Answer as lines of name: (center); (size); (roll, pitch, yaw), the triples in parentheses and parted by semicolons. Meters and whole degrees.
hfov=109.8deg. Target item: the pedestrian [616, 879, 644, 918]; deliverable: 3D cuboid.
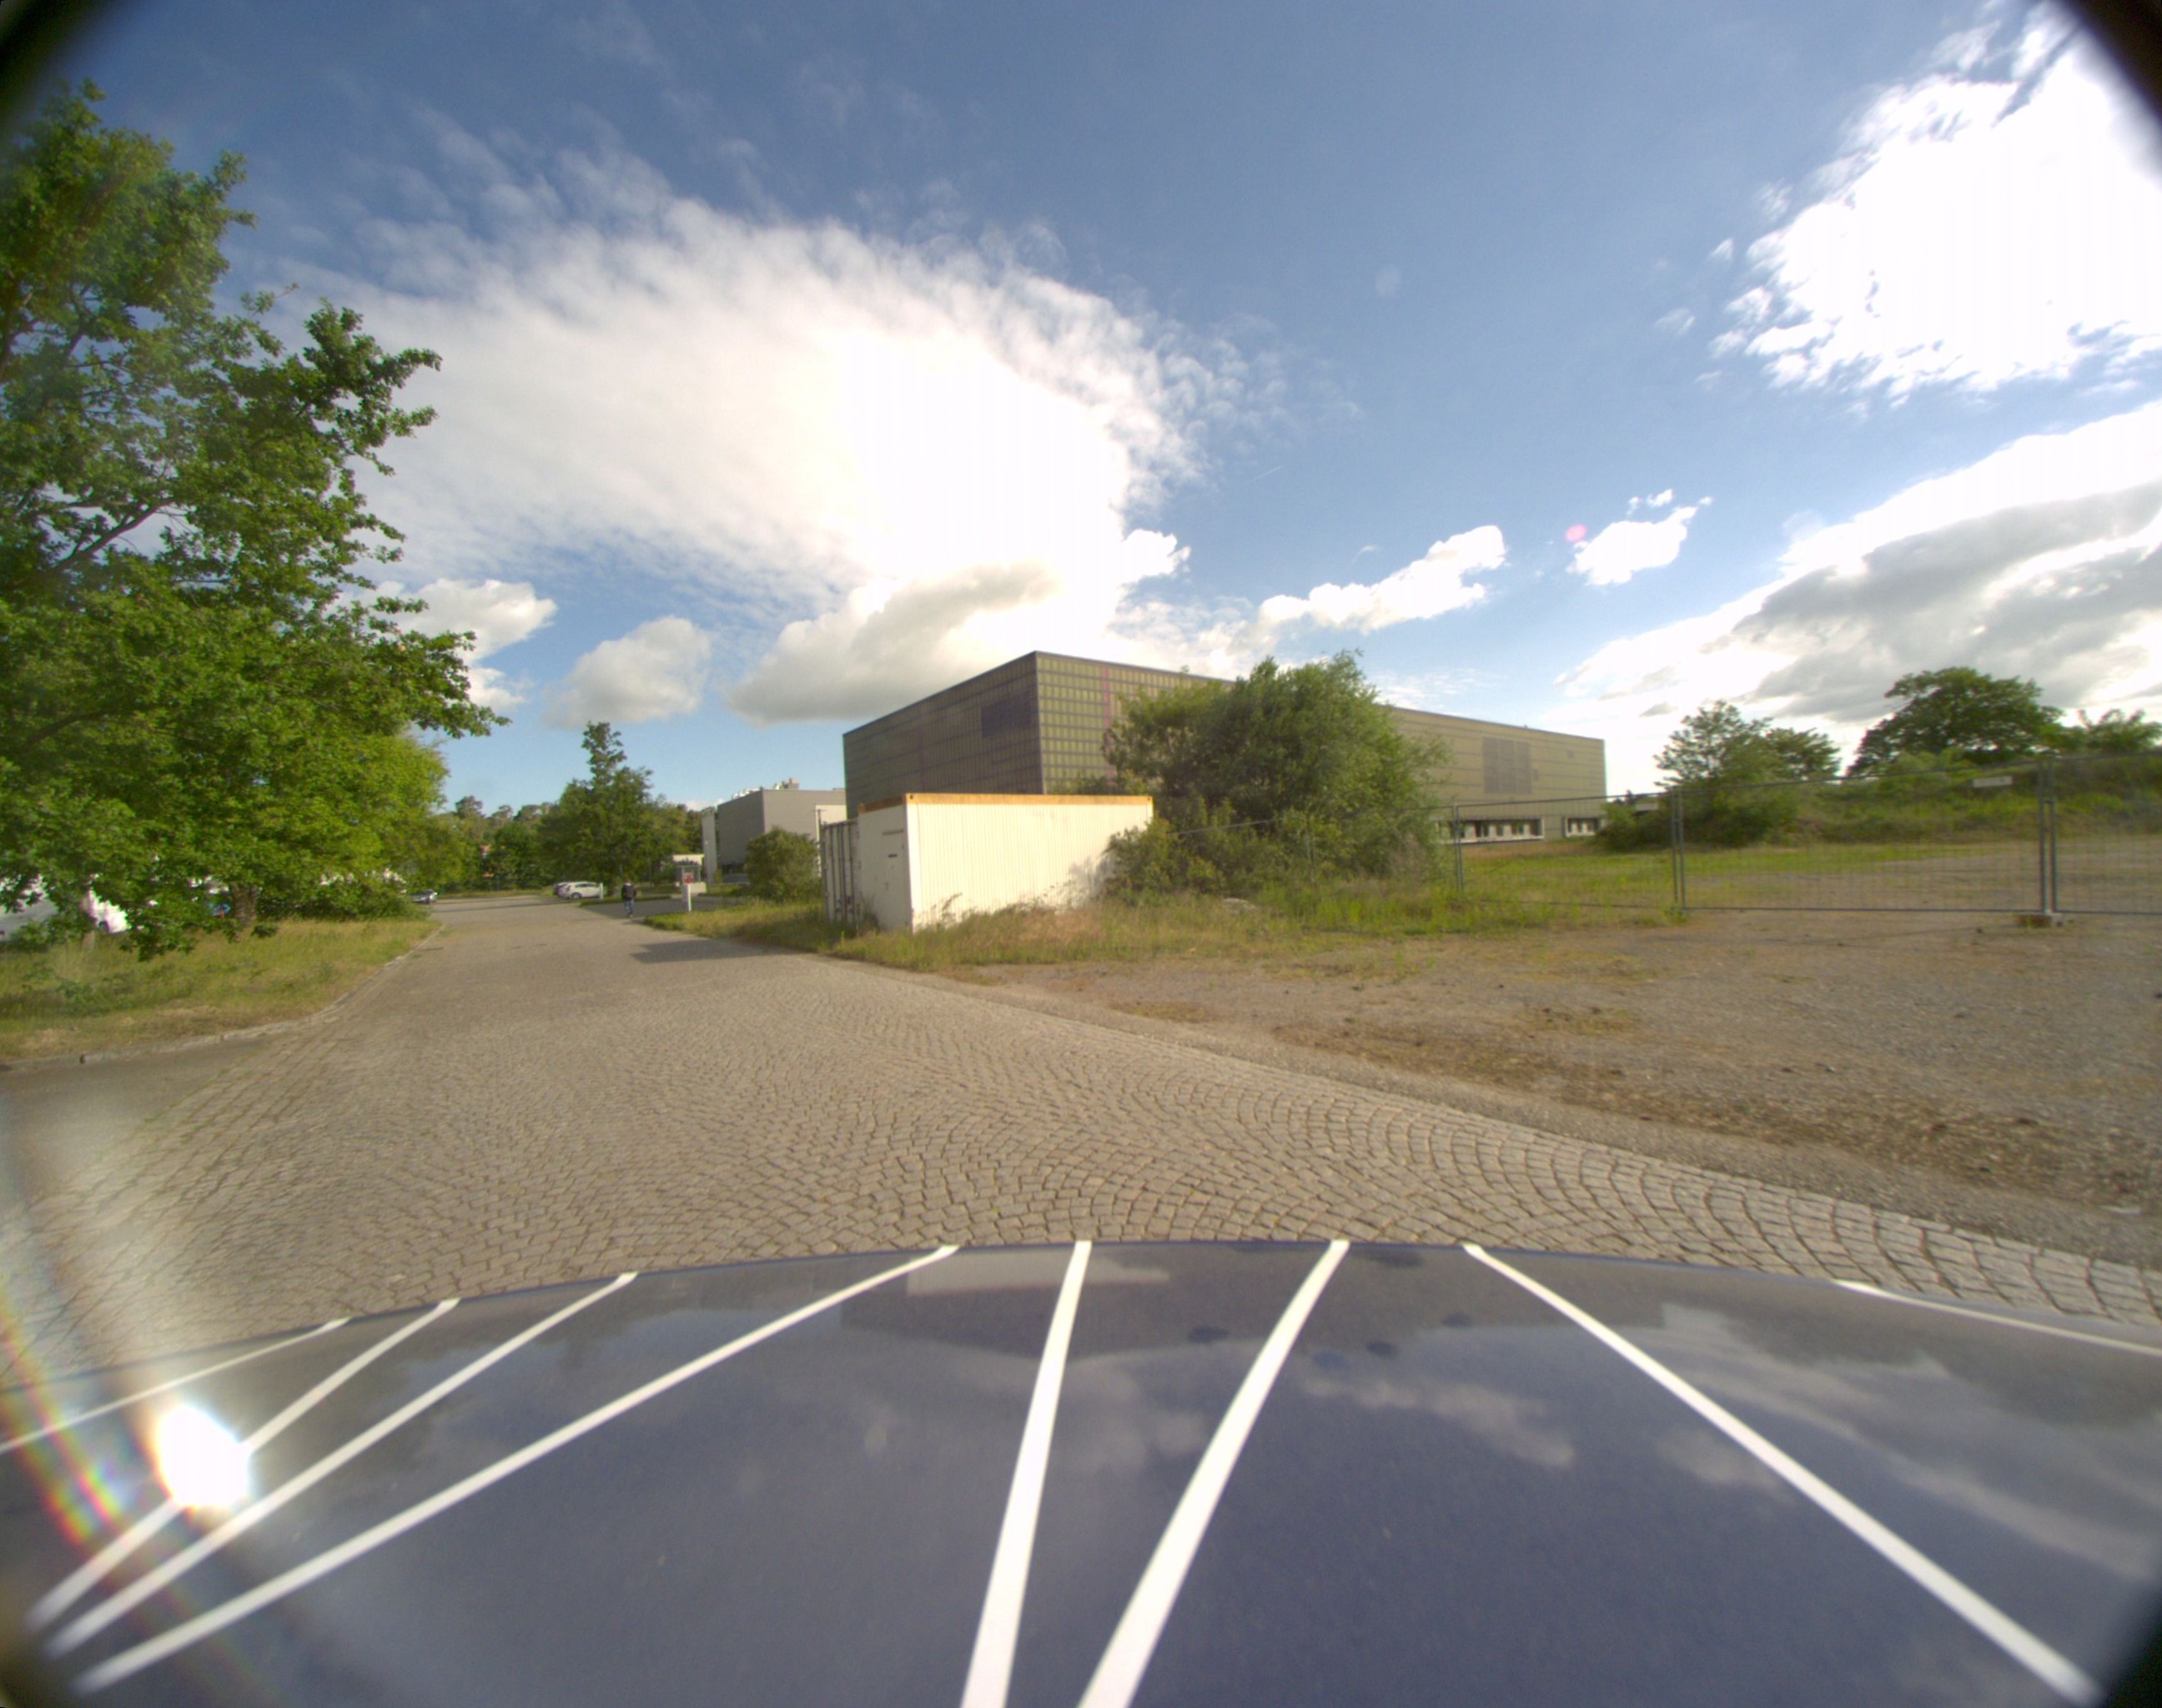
pedestrian: (-18.961, 1.861, 31.960); (0.869, 1.550, 1.026); (-3, 0, -27)

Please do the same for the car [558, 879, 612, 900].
car: (-45.035, 3.174, 69.129); (4.006, 1.633, 1.995); (-3, 0, -32)

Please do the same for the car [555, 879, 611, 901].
car: (-43.715, 3.126, 66.737); (4.006, 1.633, 1.995); (-3, 0, -32)

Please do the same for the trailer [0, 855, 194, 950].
trailer: (-42.411, 1.967, 32.860); (2.931, 3.451, 9.877); (-3, 0, -36)
